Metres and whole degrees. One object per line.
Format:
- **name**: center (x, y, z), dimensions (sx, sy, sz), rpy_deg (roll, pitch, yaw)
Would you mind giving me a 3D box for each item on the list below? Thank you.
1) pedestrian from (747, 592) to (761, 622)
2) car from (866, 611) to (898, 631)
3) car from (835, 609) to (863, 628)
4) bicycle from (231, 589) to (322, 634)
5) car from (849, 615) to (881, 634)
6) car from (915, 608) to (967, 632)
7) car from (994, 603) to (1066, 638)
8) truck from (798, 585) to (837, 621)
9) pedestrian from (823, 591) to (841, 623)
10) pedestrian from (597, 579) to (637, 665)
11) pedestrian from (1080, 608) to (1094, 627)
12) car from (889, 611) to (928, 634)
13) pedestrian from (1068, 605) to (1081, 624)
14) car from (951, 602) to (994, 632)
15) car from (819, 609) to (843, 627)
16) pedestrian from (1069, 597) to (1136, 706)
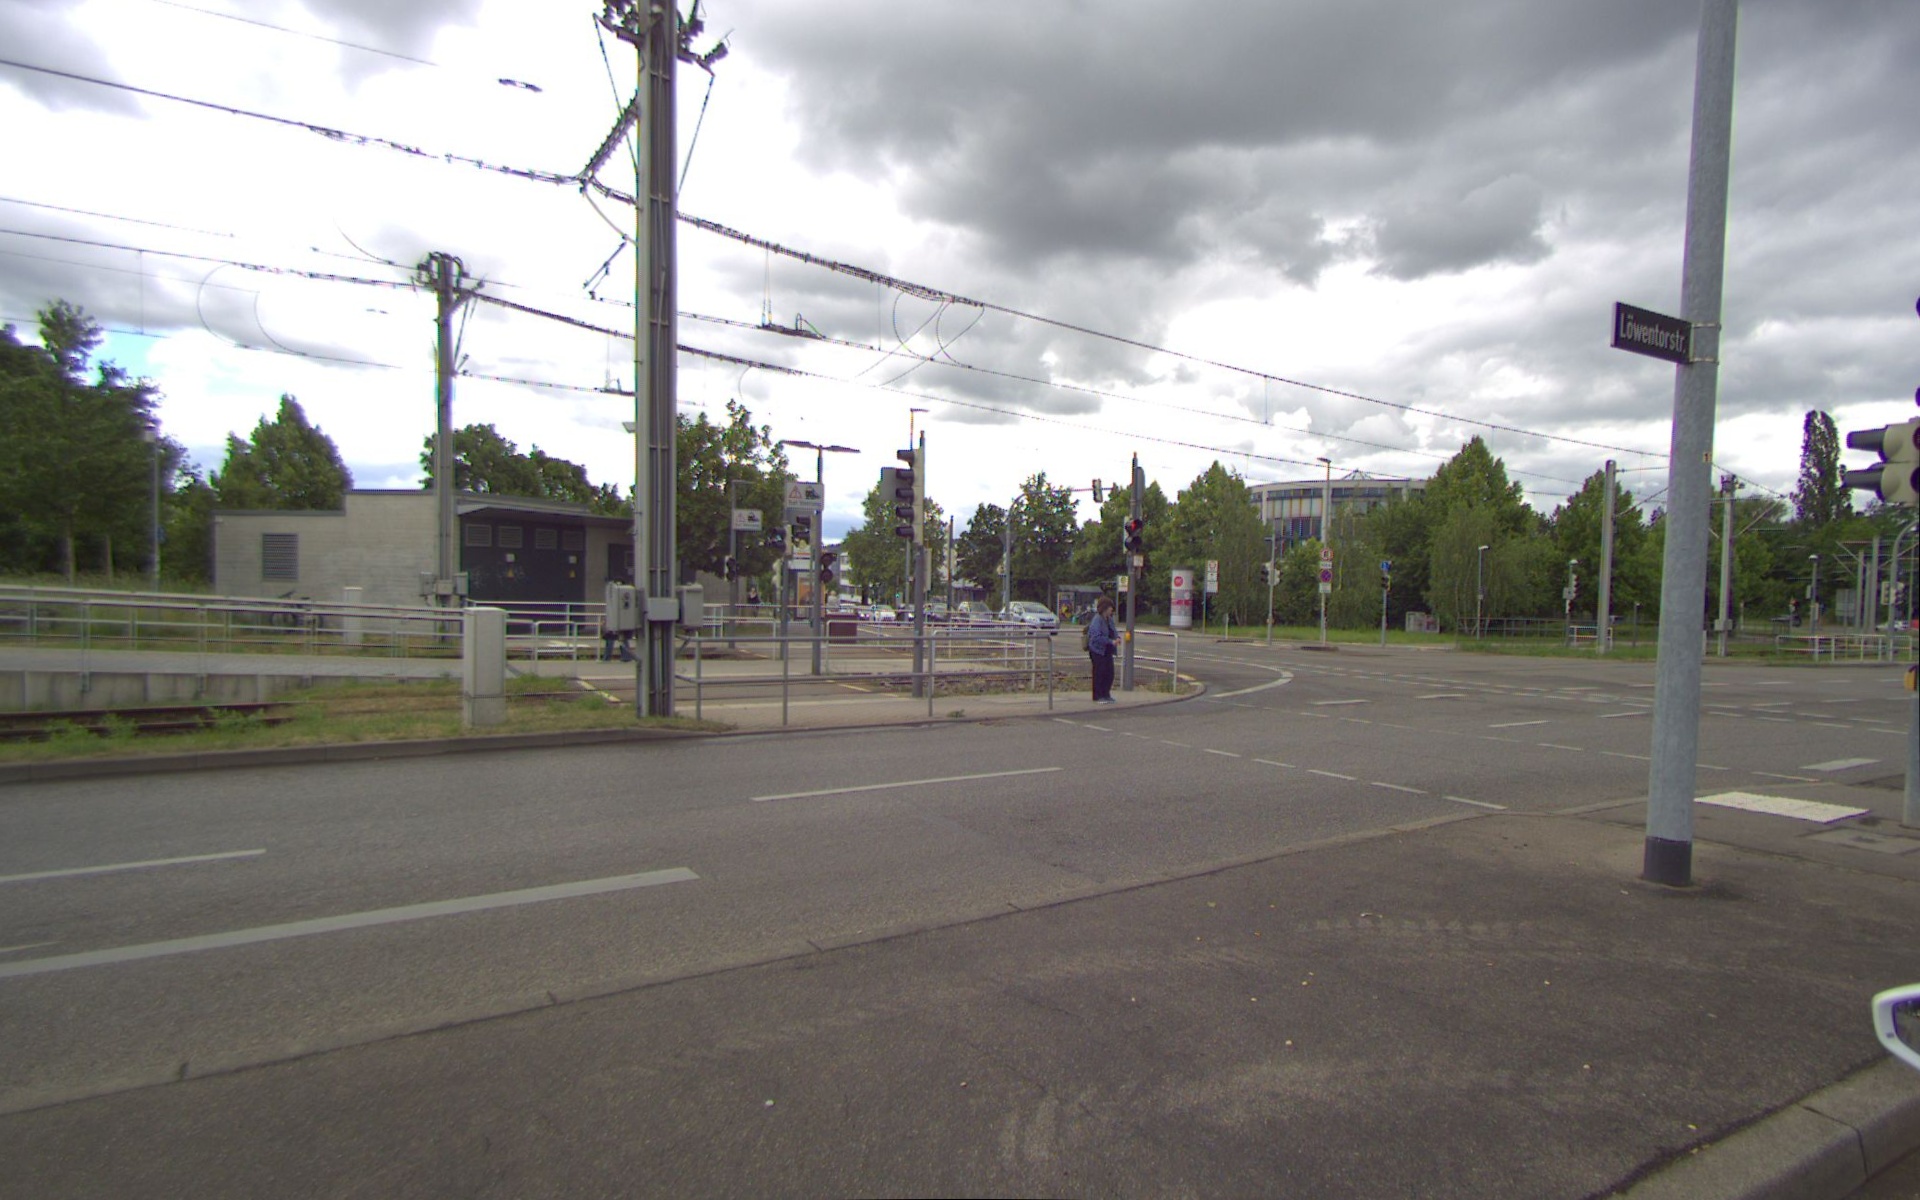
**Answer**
- **pedestrian**: center (-11.584, 0.384, 56.468), dimensions (0.539, 1.692, 0.639), rpy_deg (1, 0, 10)
- **car**: center (-5.837, 1.564, 74.780), dimensions (1.618, 1.409, 3.748), rpy_deg (1, 0, -17)
- **car**: center (-9.609, 1.596, 86.812), dimensions (1.708, 1.607, 4.208), rpy_deg (0, 0, -17)
- **bicycle**: center (-18.433, 0.302, 27.085), dimensions (2.210, 1.120, 0.679), rpy_deg (2, 0, 12)
- **car**: center (-7.601, 1.916, 80.373), dimensions (1.618, 1.409, 4.867), rpy_deg (1, 0, -17)
- **car**: center (-1.144, 1.129, 58.156), dimensions (1.777, 1.350, 4.362), rpy_deg (1, 0, -18)
- **car**: center (3.217, 0.925, 47.041), dimensions (1.805, 1.556, 4.199), rpy_deg (1, 0, -21)
- **truck**: center (-14.966, 0.313, 105.164), dimensions (2.670, 3.533, 9.960), rpy_deg (0, 0, -16)
- **pedestrian**: center (-5.561, 0.303, 43.672), dimensions (0.543, 1.382, 0.769), rpy_deg (1, 0, -24)
- **pedestrian**: center (-6.549, 0.421, 19.188), dimensions (0.539, 1.593, 0.560), rpy_deg (4, -1, -31)
- **pedestrian**: center (9.028, 1.246, 71.476), dimensions (0.759, 1.269, 0.774), rpy_deg (1, 0, 32)
- **car**: center (-3.366, 1.434, 64.854), dimensions (1.618, 1.350, 4.046), rpy_deg (1, 0, -17)
- **pedestrian**: center (8.303, 1.054, 72.908), dimensions (0.718, 1.333, 0.587), rpy_deg (1, 0, -15)
- **car**: center (0.638, 0.862, 53.211), dimensions (1.411, 1.547, 2.763), rpy_deg (0, 0, -19)
- **car**: center (-12.104, 1.639, 94.125), dimensions (1.618, 1.607, 4.046), rpy_deg (0, 0, -17)
- **pedestrian**: center (2.089, 0.745, 14.772), dimensions (0.661, 1.550, 0.711), rpy_deg (1, 0, -25)
